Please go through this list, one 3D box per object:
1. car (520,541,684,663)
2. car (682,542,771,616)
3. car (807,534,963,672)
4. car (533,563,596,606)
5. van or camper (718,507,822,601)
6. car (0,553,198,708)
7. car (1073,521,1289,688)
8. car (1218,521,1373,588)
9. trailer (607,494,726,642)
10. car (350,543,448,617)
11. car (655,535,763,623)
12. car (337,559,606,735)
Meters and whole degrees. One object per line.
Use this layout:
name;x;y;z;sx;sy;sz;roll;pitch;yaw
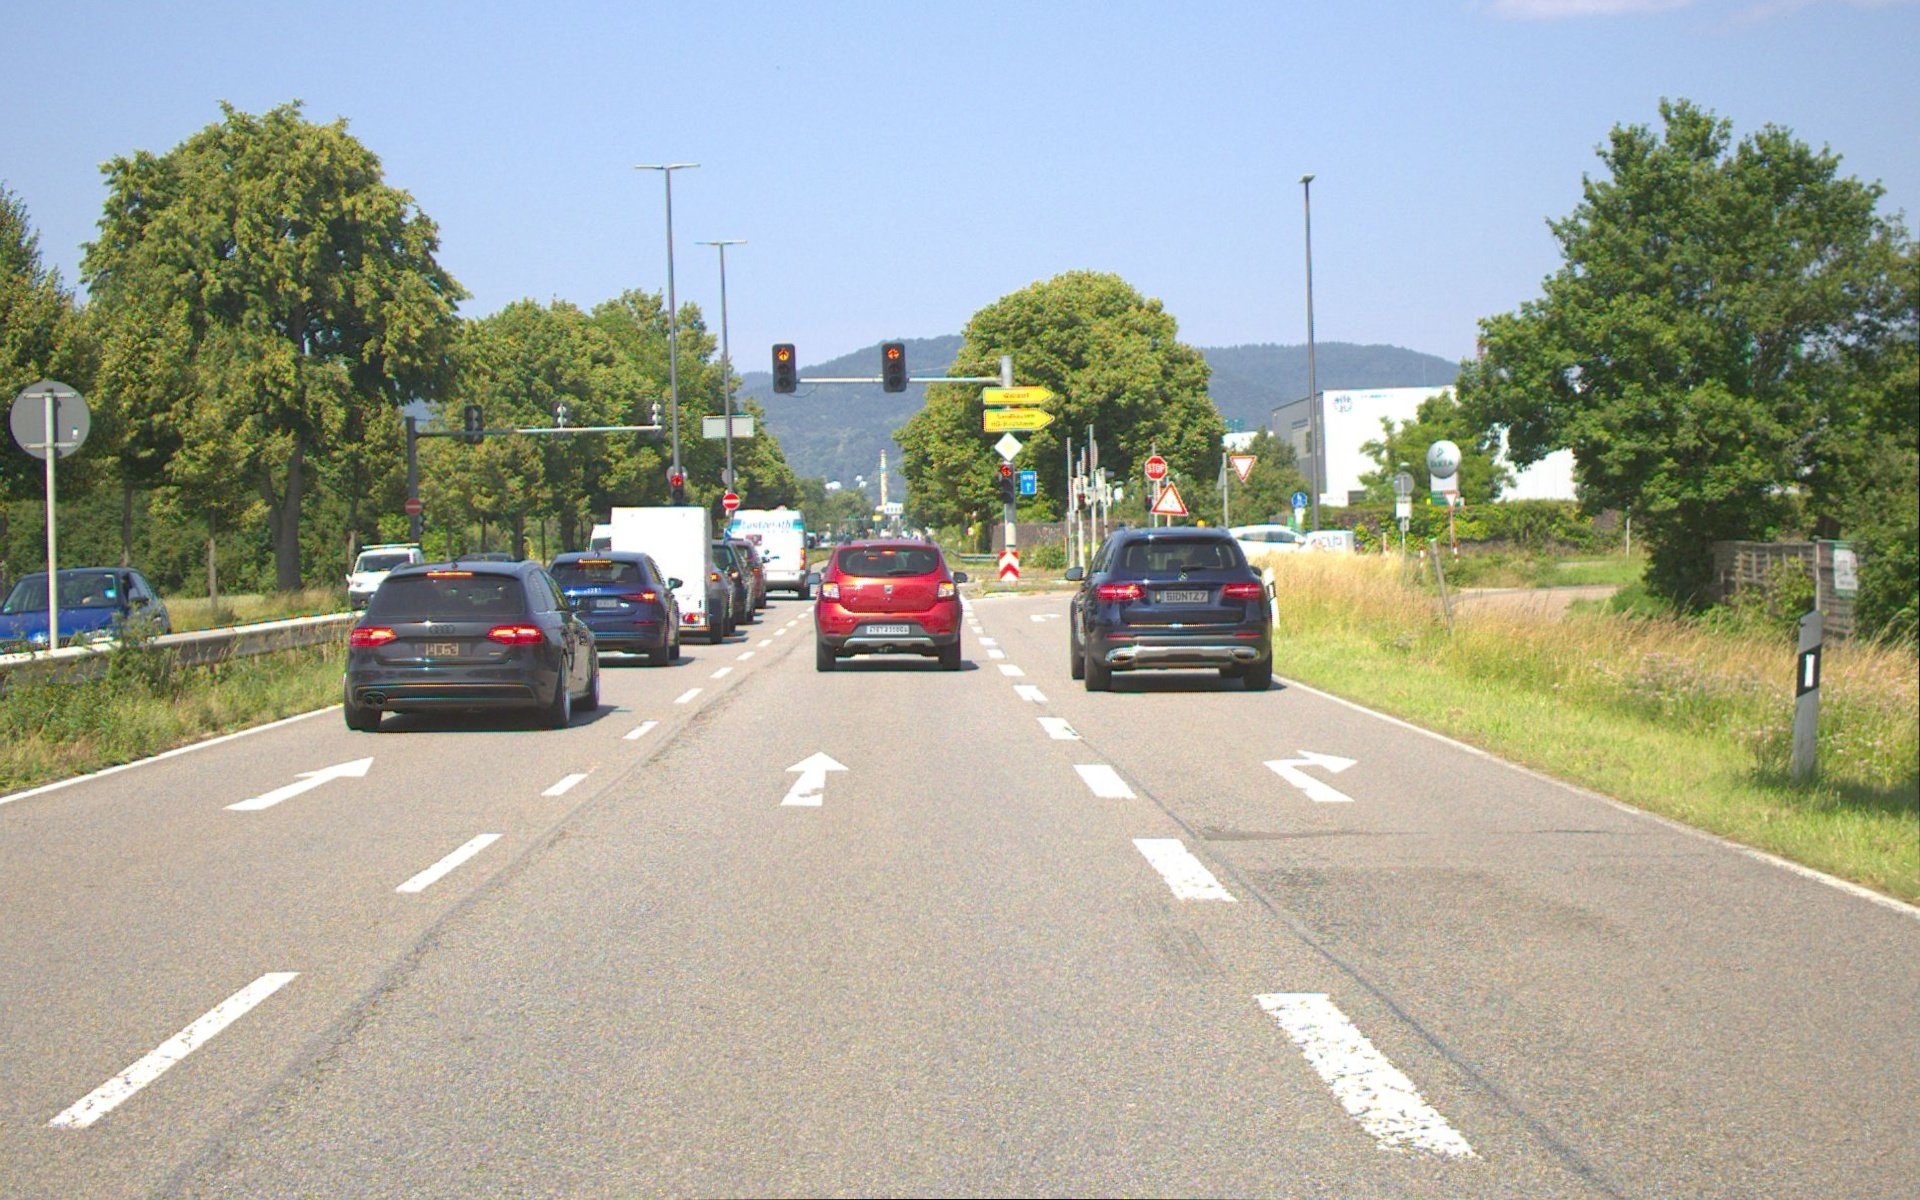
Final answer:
car;-4.499;-0.013;43.662;1.717;1.460;4.030;0;1;-1
car;-5.240;-0.495;77.634;1.724;1.594;3.955;-2;1;0
car;-0.854;0.005;41.264;1.749;1.570;3.676;0;1;1
car;-14.491;-0.586;126.156;1.879;1.449;4.505;-2;1;-1
van or camper;-4.864;-1.188;88.749;2.179;2.295;4.826;-2;1;2
car;-10.387;0.320;40.250;1.993;1.657;4.481;-2;1;-1
car;2.221;0.003;35.575;1.993;1.611;4.339;0;1;1
car;10.096;-1.383;103.692;4.490;1.861;1.885;-2;1;1
trailer;-4.498;-0.511;53.123;1.500;2.166;4.174;-2;1;-1
car;-15.553;-0.574;95.548;1.993;1.945;4.831;-2;1;-1
car;-4.663;-0.411;64.347;1.723;1.570;3.893;-1;1;0
car;-4.144;0.351;29.777;1.740;1.376;4.455;-1;1;-1
